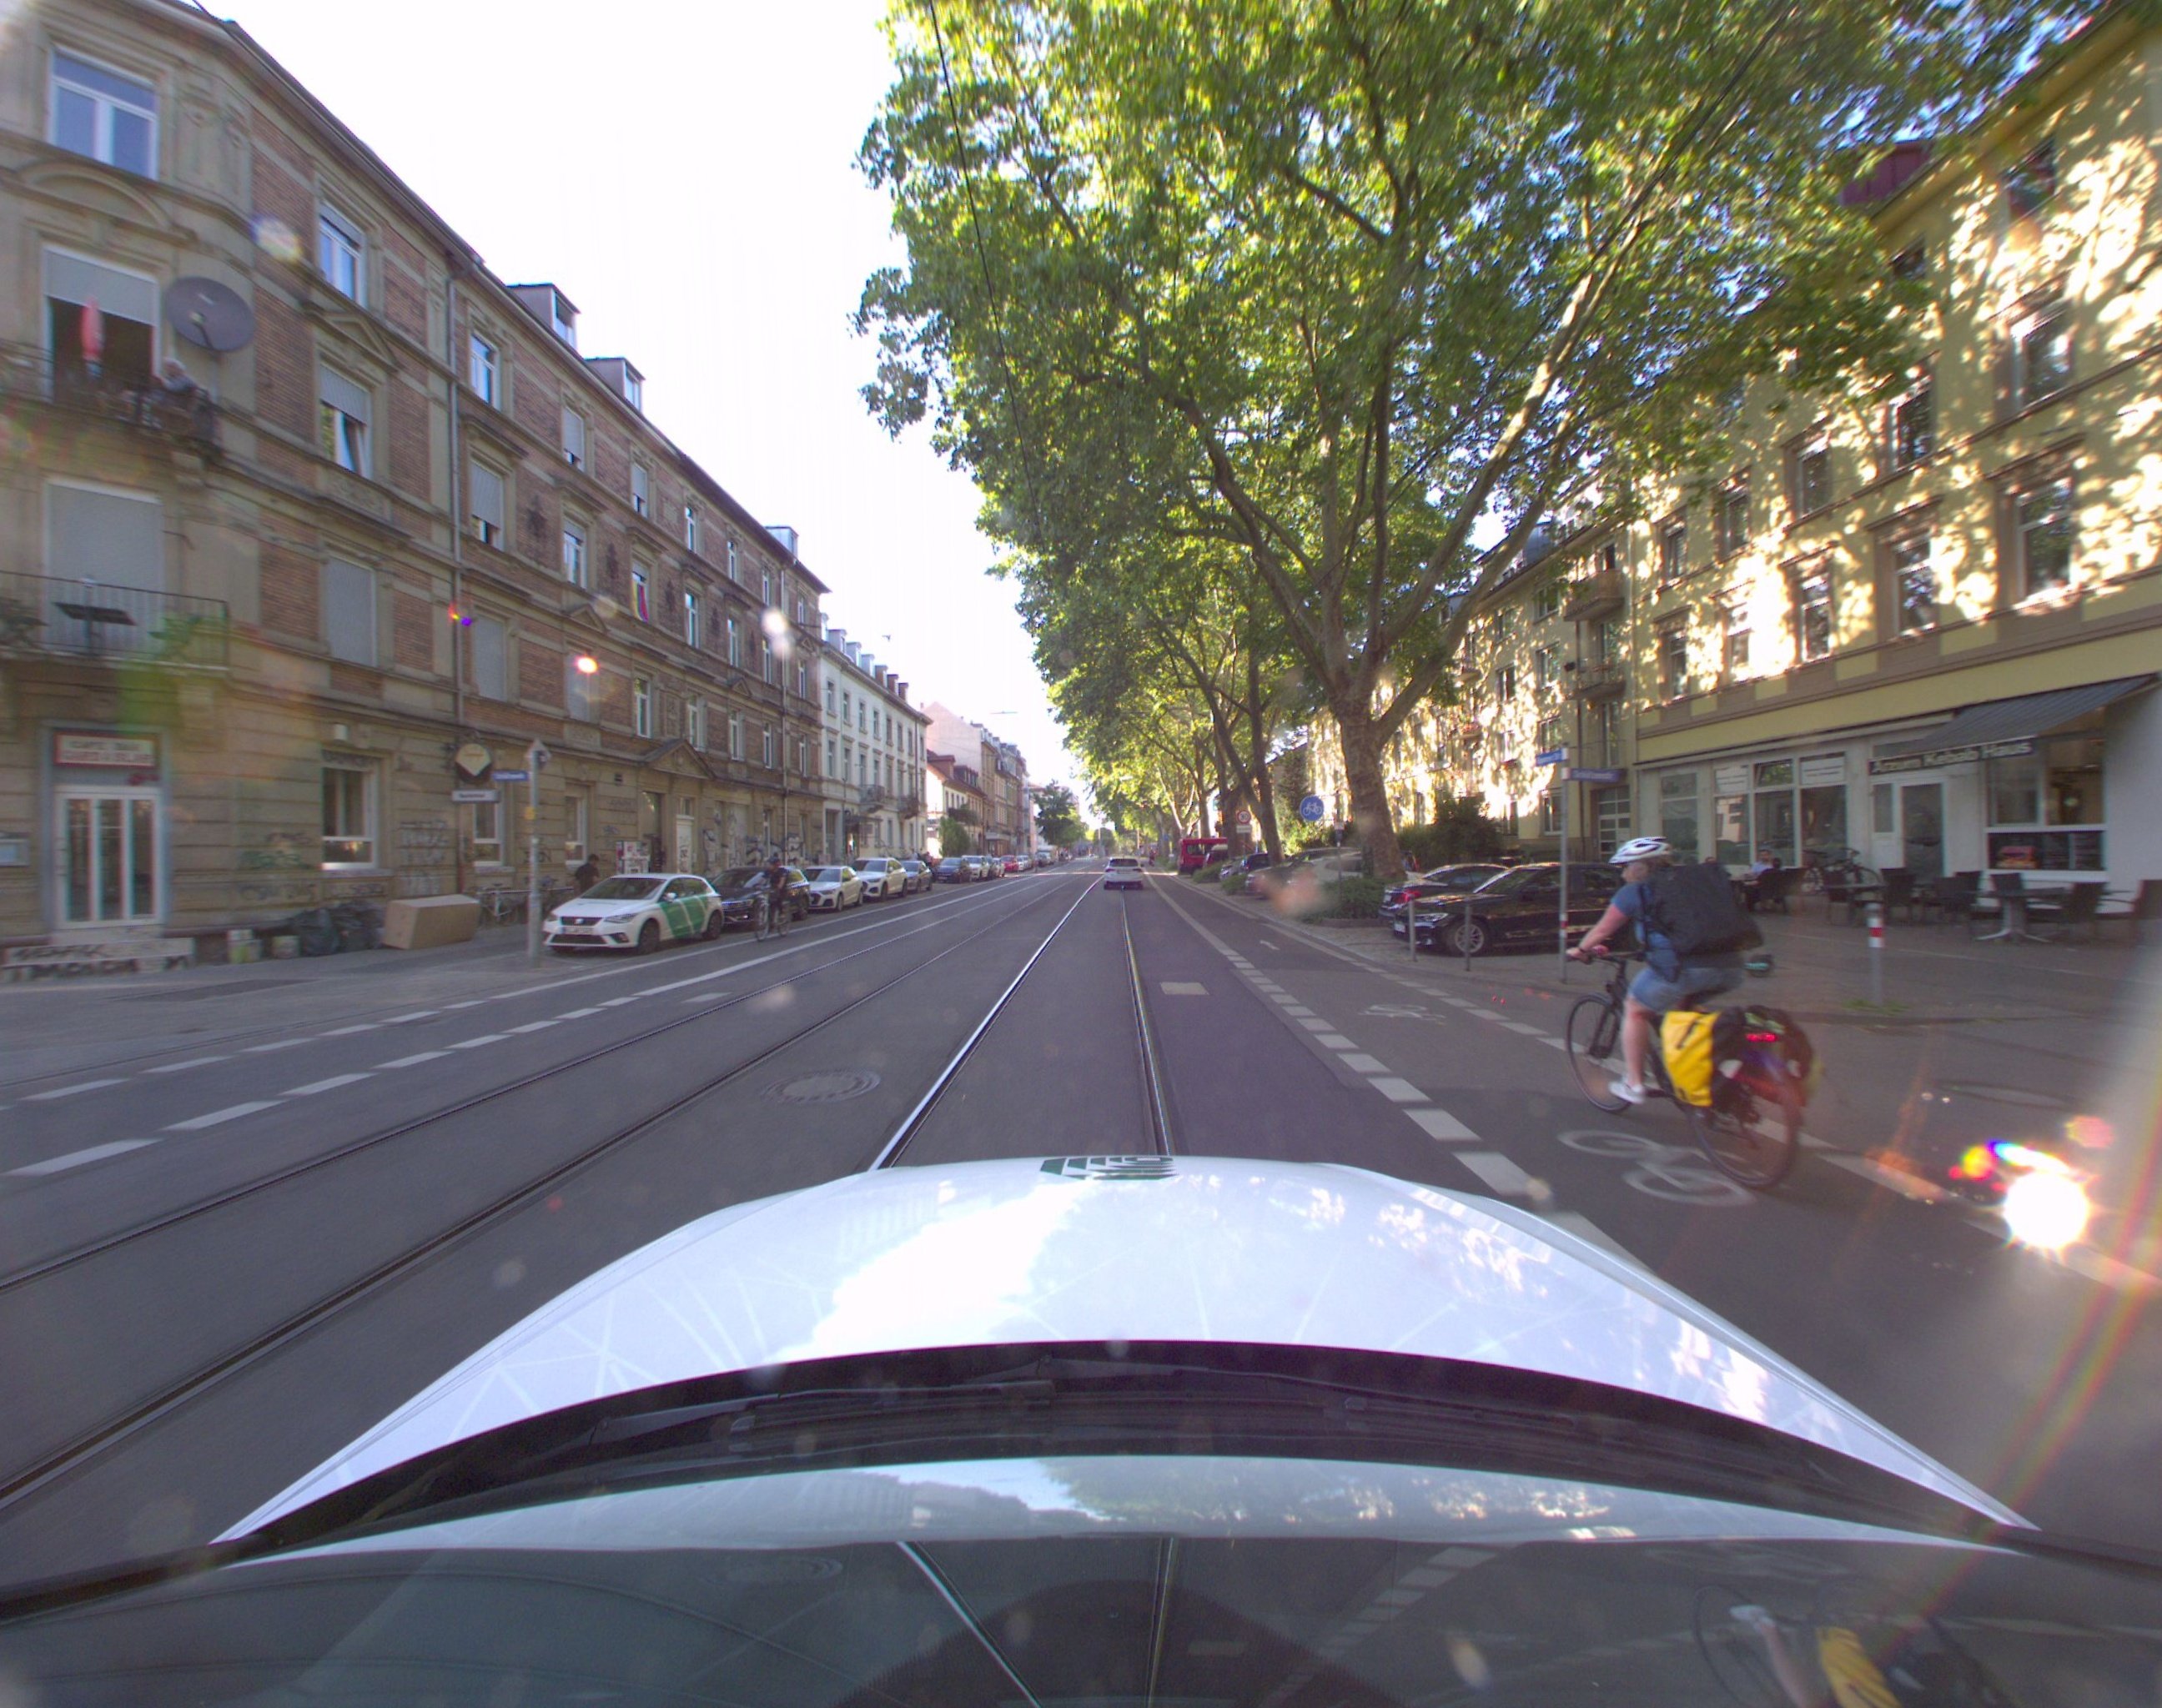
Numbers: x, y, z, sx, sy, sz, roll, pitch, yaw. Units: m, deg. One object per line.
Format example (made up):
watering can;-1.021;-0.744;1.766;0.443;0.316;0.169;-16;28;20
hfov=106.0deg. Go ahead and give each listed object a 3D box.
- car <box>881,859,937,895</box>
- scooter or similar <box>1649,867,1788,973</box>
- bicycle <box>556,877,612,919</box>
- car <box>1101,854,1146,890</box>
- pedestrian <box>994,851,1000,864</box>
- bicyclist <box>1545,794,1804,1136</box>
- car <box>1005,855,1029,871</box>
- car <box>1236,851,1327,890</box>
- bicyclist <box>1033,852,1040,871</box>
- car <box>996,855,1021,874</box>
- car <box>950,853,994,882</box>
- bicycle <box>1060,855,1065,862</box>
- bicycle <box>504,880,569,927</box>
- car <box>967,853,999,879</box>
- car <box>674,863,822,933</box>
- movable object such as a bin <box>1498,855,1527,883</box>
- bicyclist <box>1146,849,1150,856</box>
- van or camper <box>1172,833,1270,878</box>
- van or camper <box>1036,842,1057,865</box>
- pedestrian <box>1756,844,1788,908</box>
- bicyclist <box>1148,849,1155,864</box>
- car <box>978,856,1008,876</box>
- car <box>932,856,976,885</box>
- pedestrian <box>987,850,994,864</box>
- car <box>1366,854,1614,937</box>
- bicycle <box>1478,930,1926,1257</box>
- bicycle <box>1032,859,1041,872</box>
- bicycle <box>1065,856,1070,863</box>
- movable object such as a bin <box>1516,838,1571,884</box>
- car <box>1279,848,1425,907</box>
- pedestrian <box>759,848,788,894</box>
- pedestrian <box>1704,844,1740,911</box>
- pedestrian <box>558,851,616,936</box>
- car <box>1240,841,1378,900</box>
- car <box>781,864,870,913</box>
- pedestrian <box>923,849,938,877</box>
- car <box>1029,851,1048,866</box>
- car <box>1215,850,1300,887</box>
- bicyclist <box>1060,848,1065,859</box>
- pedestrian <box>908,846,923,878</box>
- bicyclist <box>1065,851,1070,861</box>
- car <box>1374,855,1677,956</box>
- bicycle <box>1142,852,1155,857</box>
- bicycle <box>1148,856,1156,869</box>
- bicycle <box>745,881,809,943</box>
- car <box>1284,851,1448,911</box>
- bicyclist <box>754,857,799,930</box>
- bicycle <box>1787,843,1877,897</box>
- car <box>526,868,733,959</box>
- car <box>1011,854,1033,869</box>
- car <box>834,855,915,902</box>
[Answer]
car;-7.806;1.025;37.297;1.657;1.521;4.064;0;0;0
scooter or similar;7.800;0.799;10.006;1.297;1.256;0.342;-1;0;15
bicycle;-13.496;1.172;22.150;0.371;1.034;1.848;-1;0;0
car;1.831;0.762;36.210;1.836;1.480;3.838;0;0;0
pedestrian;-9.813;0.405;95.304;0.636;1.460;0.654;0;0;-14
bicyclist;3.029;0.512;4.259;0.612;1.552;0.936;3;0;2
car;-6.145;0.845;78.693;1.821;1.502;4.688;0;0;0
car;8.666;0.707;35.387;3.581;1.599;1.542;-1;-1;2
bicyclist;-3.867;0.660;71.270;0.471;1.636;0.800;-1;0;3
car;-6.498;0.905;73.029;1.561;1.562;3.455;-1;0;6
car;-6.908;0.806;52.186;1.849;1.703;4.767;-2;0;3
bicycle;-2.829;0.648;124.307;0.482;1.047;2.042;-3;0;4
bicycle;-13.484;1.195;20.225;0.371;1.034;1.848;-1;0;0
car;-6.887;0.809;57.551;1.852;1.703;4.655;-2;0;-3
car;-8.399;1.031;21.059;1.734;1.562;4.787;0;0;1
movable object such as a bin;15.342;0.528;28.959;0.745;0.943;0.466;-3;0;2
bicyclist;14.062;-0.285;171.018;0.731;1.589;0.589;-2;0;15
van or camper;8.901;0.073;52.159;5.796;2.519;2.288;-3;1;0
van or camper;-4.972;-0.083;118.181;2.206;3.140;7.122;0;0;4
pedestrian;14.634;0.451;17.250;0.480;1.328;0.691;-1;0;39
bicyclist;6.522;0.241;75.339;0.676;1.339;0.525;0;0;2
car;-6.771;0.919;63.111;1.680;1.477;4.260;0;0;2
car;-7.318;0.927;47.224;1.546;1.515;3.929;-2;0;5
pedestrian;-10.595;0.317;95.163;0.773;1.634;0.654;0;0;-13
car;7.985;0.802;16.204;4.074;1.491;1.685;-1;0;6
bicycle;3.018;1.043;4.412;0.593;1.004;2.513;2;0;3
bicycle;-3.878;0.995;71.143;0.479;1.086;1.848;-1;0;4
bicycle;-2.200;0.883;130.676;0.496;0.943;1.924;-3;0;4
movable object such as a bin;15.359;0.233;27.077;1.162;1.437;1.118;-3;0;2
car;8.420;0.701;25.525;4.014;1.643;1.681;-2;0;0
pedestrian;-11.451;0.622;30.316;0.656;1.665;0.773;0;0;34
pedestrian;13.570;0.480;17.264;0.480;1.375;1.063;-1;0;33
pedestrian;-10.802;0.844;17.842;0.683;1.801;1.054;0;0;-7
car;7.926;0.559;28.572;4.248;1.719;1.849;-4;0;0
car;-8.208;1.065;26.501;1.694;1.420;3.997;0;0;-2
pedestrian;-9.732;0.565;52.765;0.757;1.821;0.830;-1;0;-1
car;-5.251;0.524;100.279;1.957;1.781;4.938;2;0;1
car;8.164;0.661;37.927;3.581;1.517;1.695;-3;0;2
bicyclist;-2.851;-0.063;124.452;0.533;1.634;0.897;-3;0;4
pedestrian;-10.757;0.522;52.965;0.757;2.013;0.830;-1;0;0
bicyclist;-2.202;0.279;130.699;0.635;1.503;1.071;-2;0;4
car;7.282;0.803;13.647;4.083;1.491;1.831;-1;0;0
bicycle;14.211;0.082;170.942;2.748;0.999;0.595;0;0;17
bicycle;6.523;0.766;75.056;0.677;1.155;2.966;0;0;3
bicycle;-6.390;1.182;17.233;0.419;1.150;2.233;-2;-1;2
car;7.959;0.729;22.956;4.014;1.480;1.681;-2;0;0
bicyclist;-6.451;0.815;17.280;0.580;1.482;0.807;-2;0;2
bicycle;17.075;0.341;18.568;0.468;1.156;1.747;-3;1;3
car;-8.635;1.052;16.028;1.734;1.492;4.046;0;0;1
car;-6.041;0.760;83.985;1.820;1.502;4.451;0;0;2
car;-7.984;0.896;31.914;1.779;1.723;4.721;0;0;3
